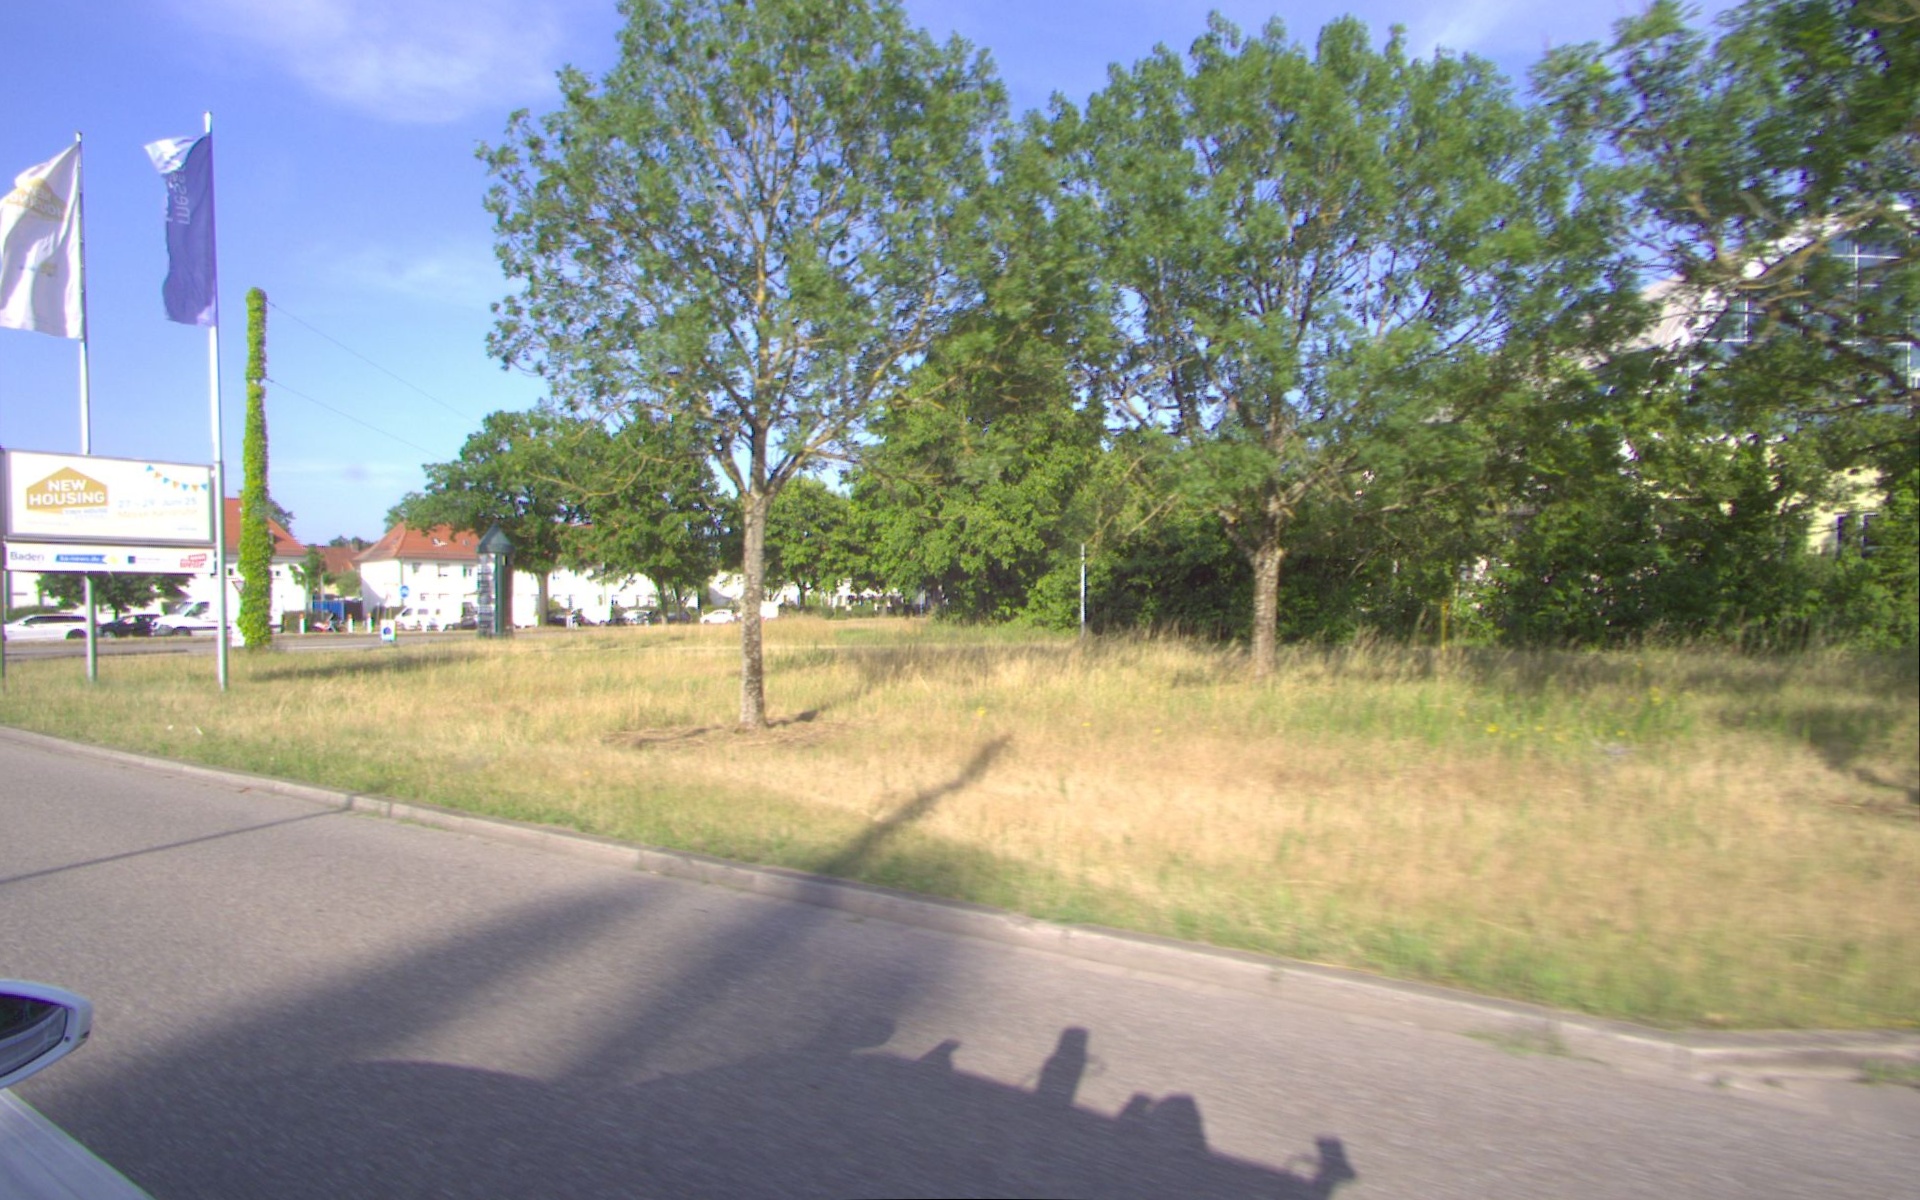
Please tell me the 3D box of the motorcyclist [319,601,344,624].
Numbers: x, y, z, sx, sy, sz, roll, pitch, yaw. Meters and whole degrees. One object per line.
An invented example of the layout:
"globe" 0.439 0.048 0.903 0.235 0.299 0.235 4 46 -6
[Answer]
"motorcyclist" -37.002 0.733 58.974 0.671 1.369 1.062 0 0 35

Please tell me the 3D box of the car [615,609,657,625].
"car" -30.907 1.597 95.503 3.432 1.534 1.895 0 0 -6

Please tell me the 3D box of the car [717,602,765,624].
"car" -23.689 1.405 108.459 4.885 2.261 1.999 0 0 -9

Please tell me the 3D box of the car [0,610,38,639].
"car" -49.107 1.225 49.613 1.694 1.430 4.807 0 0 37

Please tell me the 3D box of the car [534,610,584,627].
"car" -36.070 1.622 90.134 3.837 1.475 1.894 0 0 -13

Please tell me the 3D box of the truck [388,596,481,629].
"truck" -41.723 1.014 79.560 6.233 2.557 2.277 0 0 2

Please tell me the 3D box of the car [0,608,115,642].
"car" -45.029 1.191 49.214 1.816 1.583 5.077 0 0 37

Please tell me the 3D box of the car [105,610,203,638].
"car" -44.704 1.303 55.583 1.694 1.472 3.973 0 0 37

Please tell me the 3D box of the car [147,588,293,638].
"car" -40.725 0.727 55.264 1.974 2.617 6.187 0 0 36

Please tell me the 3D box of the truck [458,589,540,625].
"truck" -38.934 0.581 84.630 5.964 2.892 1.895 0 0 -10

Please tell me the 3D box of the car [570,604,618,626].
"car" -33.922 1.405 92.827 3.835 1.945 1.895 0 0 -10

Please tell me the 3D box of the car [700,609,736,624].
"car" -24.995 1.734 103.663 3.367 1.534 1.895 0 0 -6

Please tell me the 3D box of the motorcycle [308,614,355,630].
"motorcycle" -37.001 1.281 58.984 0.681 0.878 2.264 0 0 35
